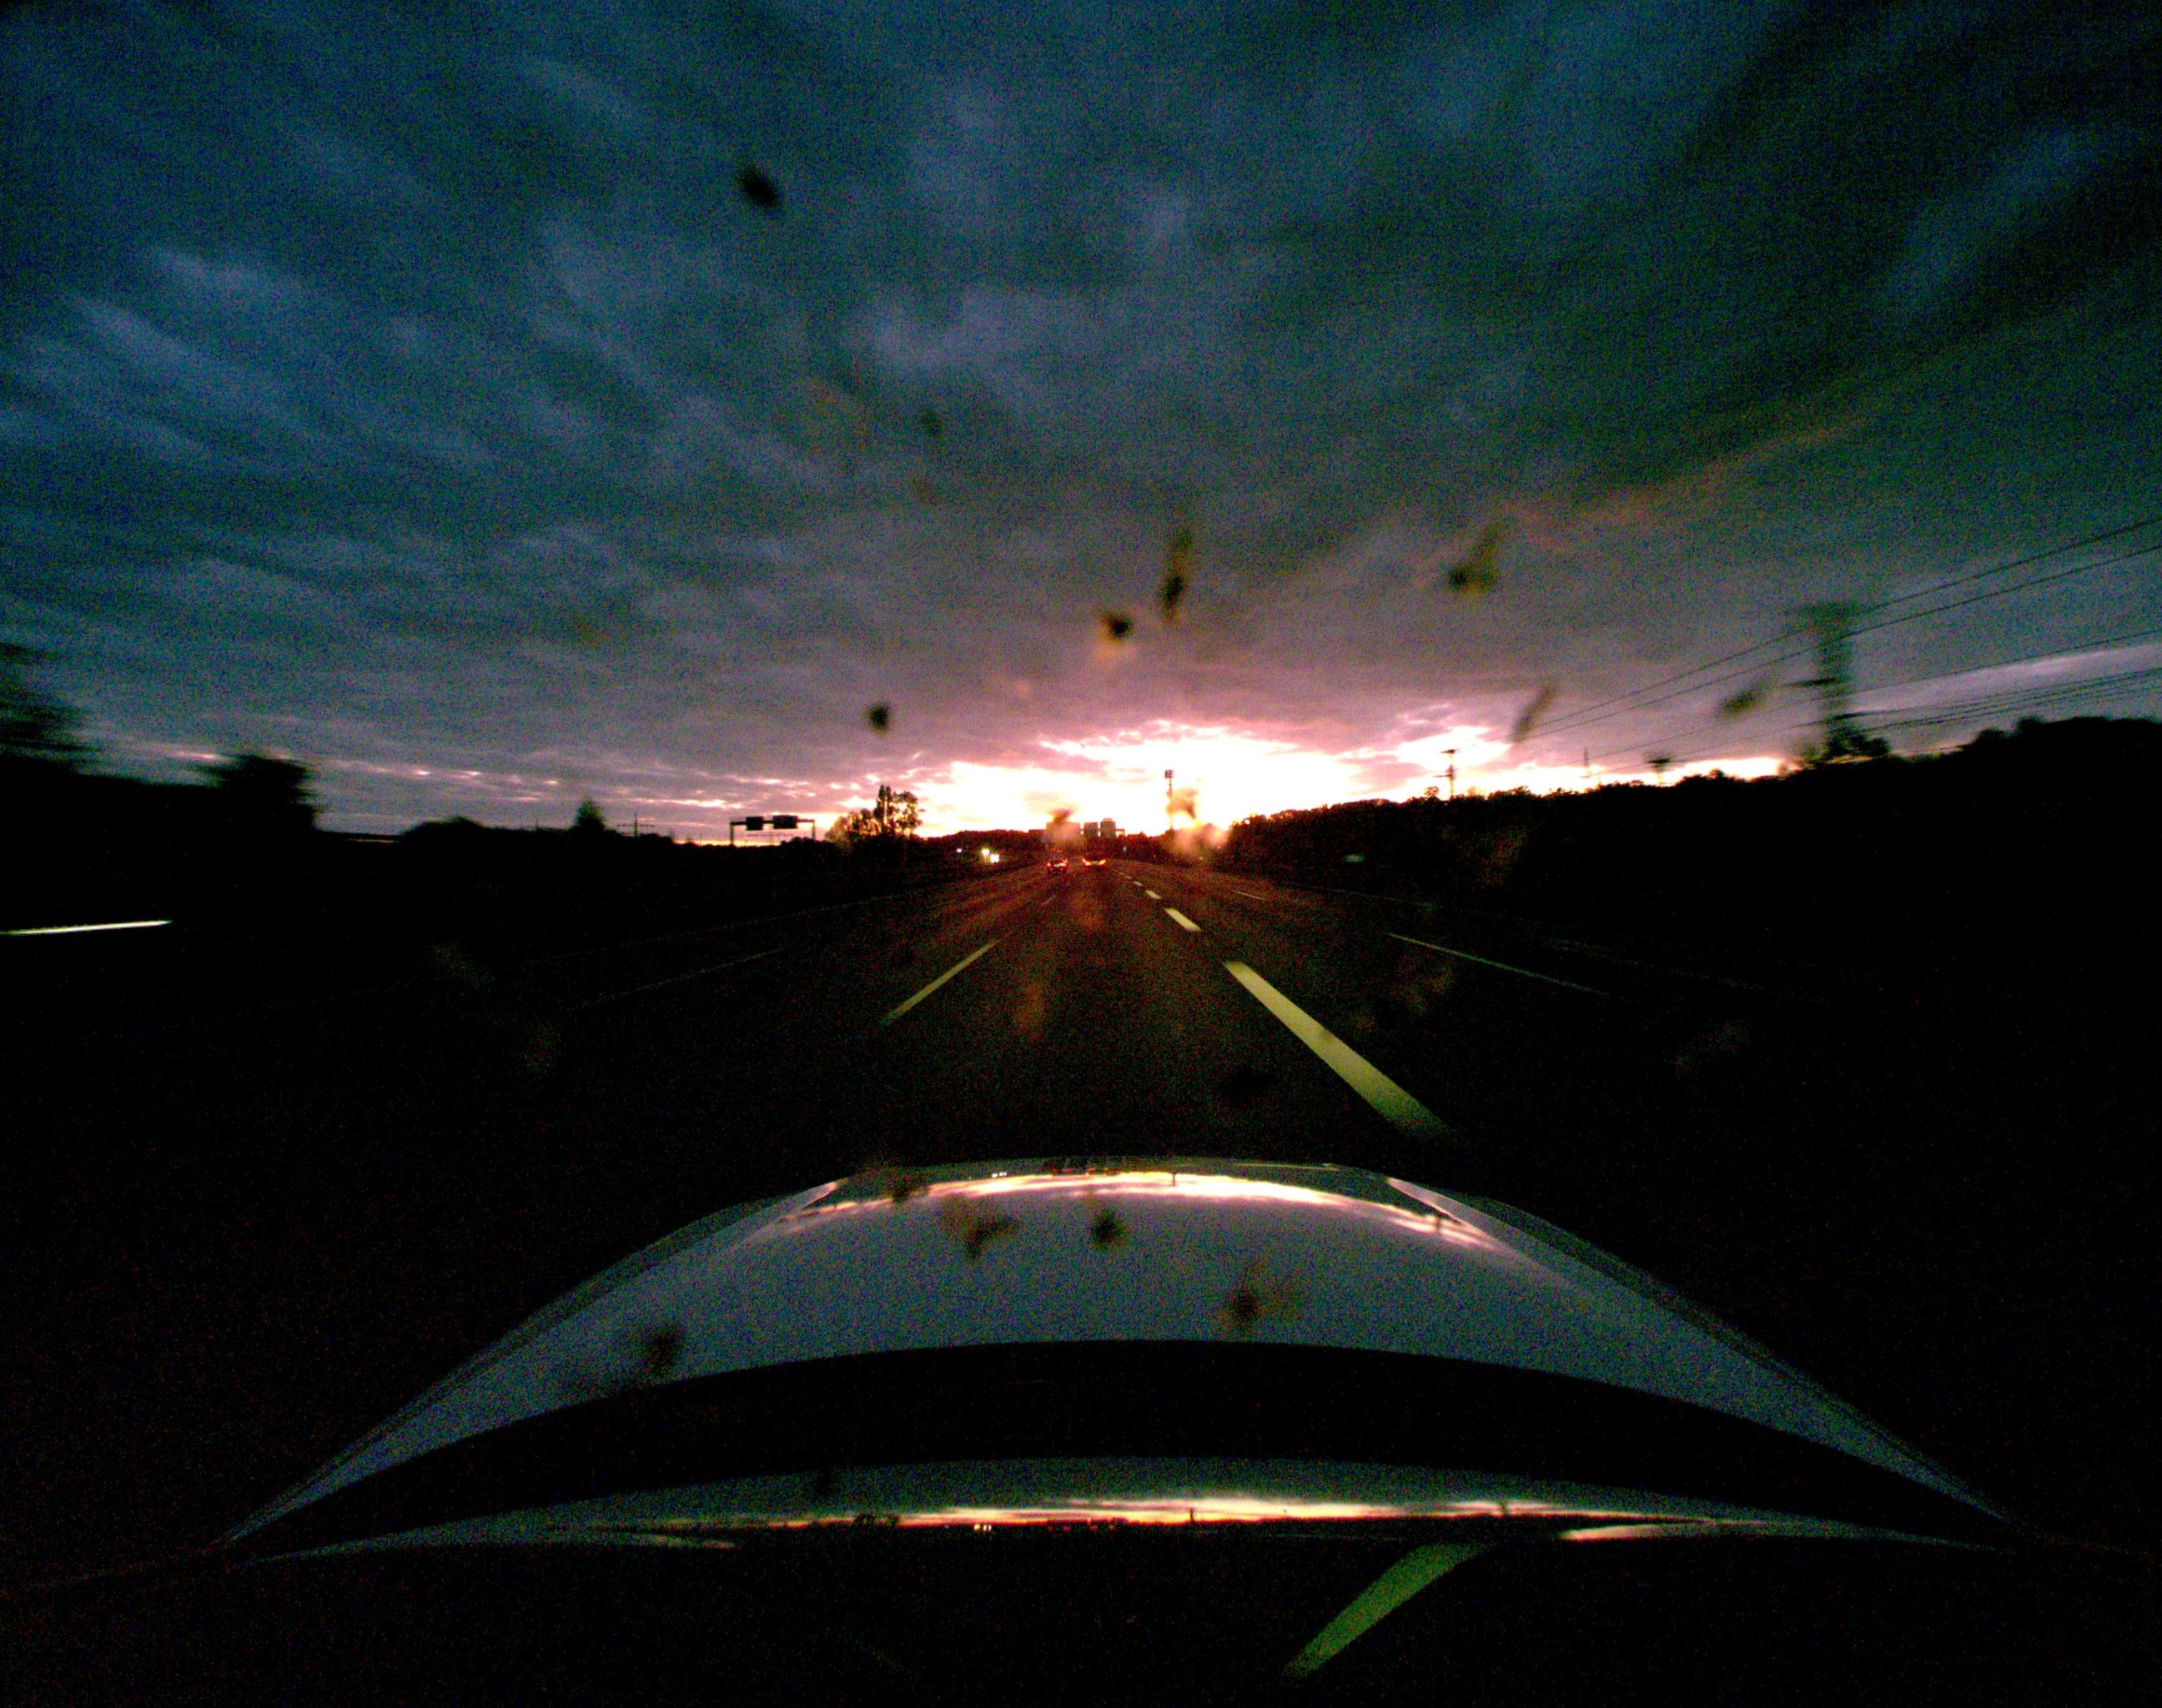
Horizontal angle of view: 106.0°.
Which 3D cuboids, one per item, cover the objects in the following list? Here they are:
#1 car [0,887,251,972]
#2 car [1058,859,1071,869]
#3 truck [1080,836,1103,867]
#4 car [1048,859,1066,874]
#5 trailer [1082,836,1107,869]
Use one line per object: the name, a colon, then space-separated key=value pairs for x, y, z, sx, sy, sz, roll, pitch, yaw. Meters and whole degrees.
car: x=-19.781 y=1.415 z=16.280 sx=1.683 sy=1.401 sz=4.430 roll=1 pitch=-2 yaw=2
car: x=-2.417 y=1.438 z=119.013 sx=1.684 sy=1.401 sz=3.408 roll=-3 pitch=-1 yaw=0
truck: x=1.442 y=-0.406 z=116.814 sx=2.683 sy=4.071 sz=10.512 roll=-2 pitch=1 yaw=-2
car: x=-2.350 y=1.205 z=80.259 sx=1.685 sy=1.401 sz=3.406 roll=-2 pitch=-1 yaw=-2
trailer: x=1.736 y=-0.254 z=107.160 sx=2.715 sy=4.071 sz=8.825 roll=-2 pitch=1 yaw=-2
